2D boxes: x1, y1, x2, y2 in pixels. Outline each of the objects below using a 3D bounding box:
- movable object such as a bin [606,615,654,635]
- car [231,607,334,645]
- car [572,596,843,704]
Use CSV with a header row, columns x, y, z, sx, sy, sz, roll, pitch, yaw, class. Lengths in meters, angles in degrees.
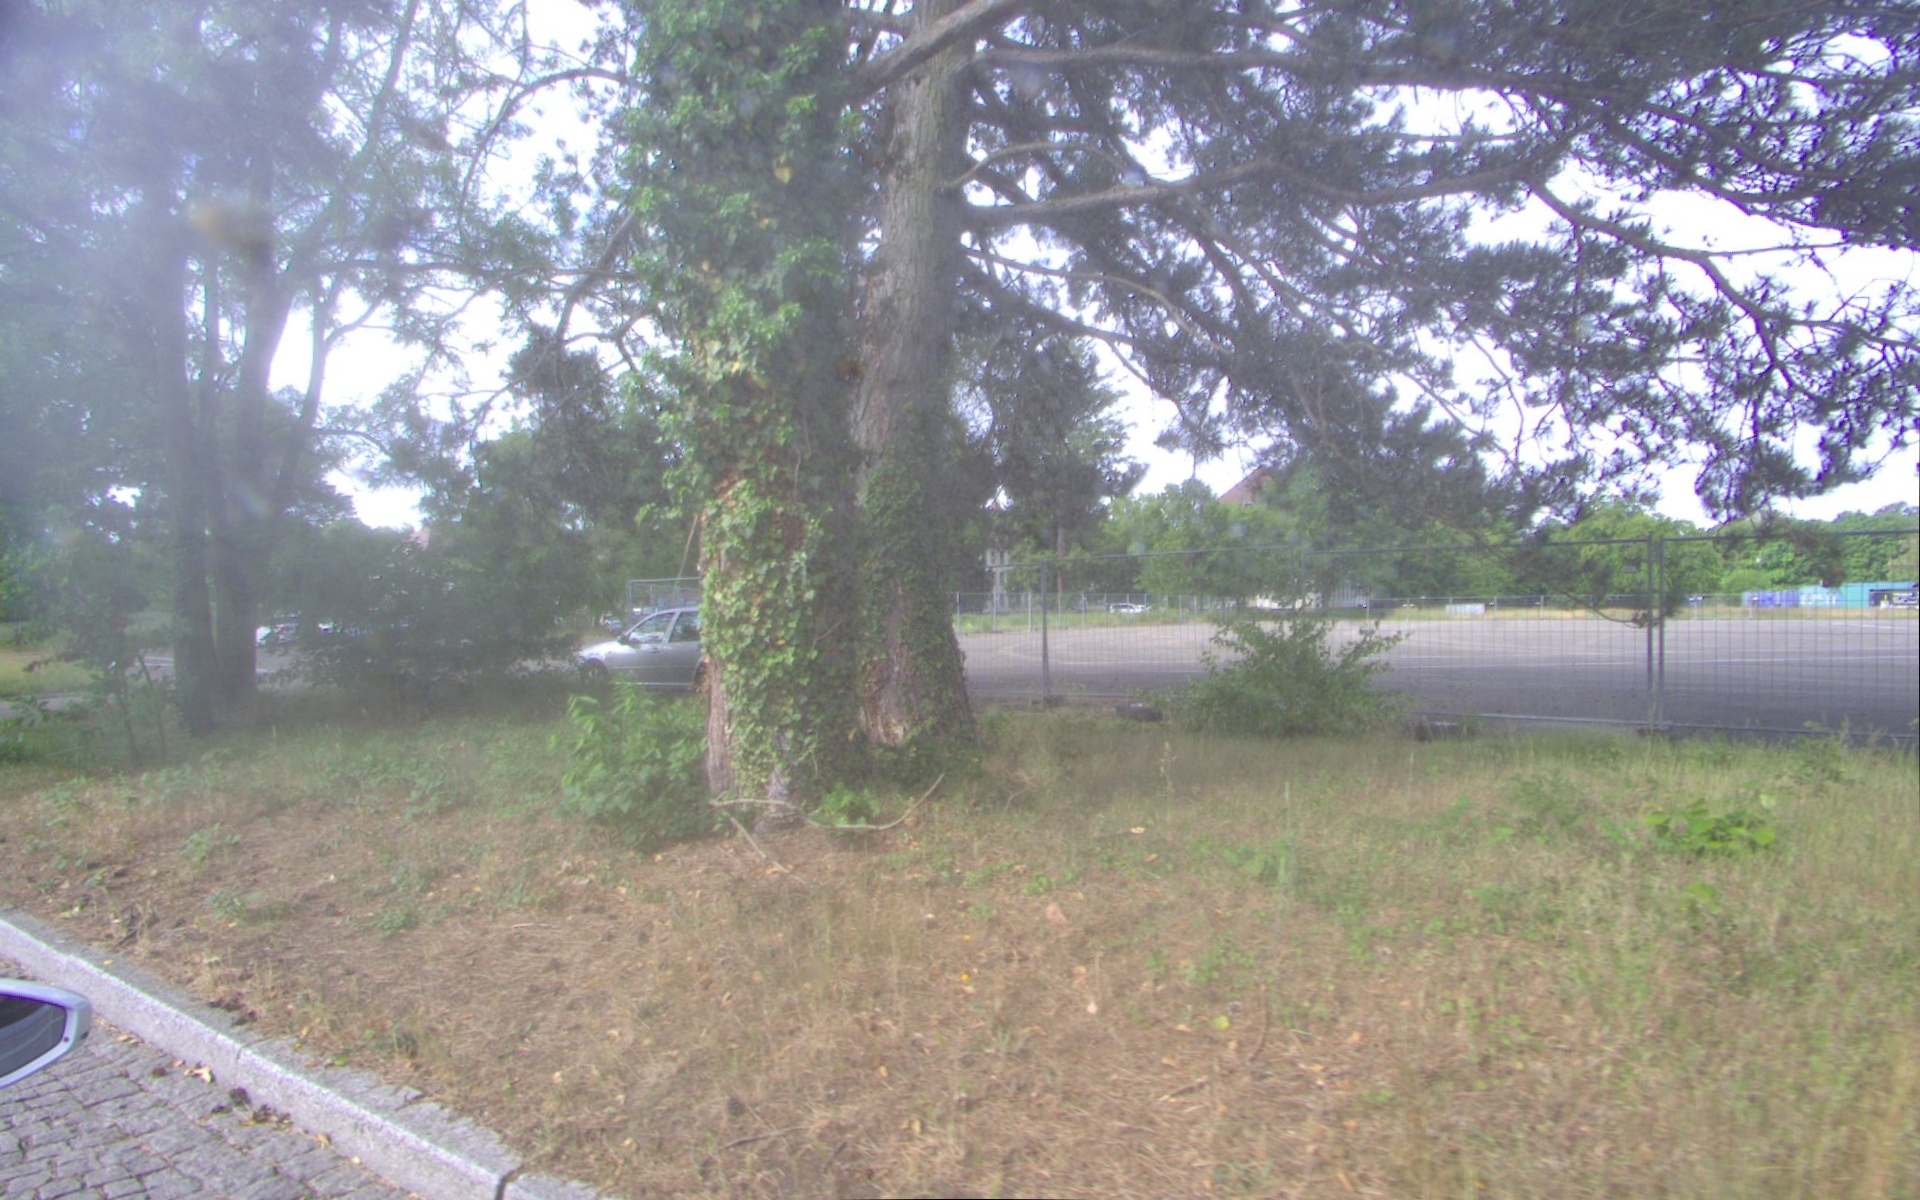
x,y,z,sx,sy,sz,roll,pitch,yaw,class
-14.757,1.110,44.783,1.928,0.836,1.181,-1,0,37,movable object such as a bin
-29.703,1.139,43.869,4.359,1.500,1.991,-2,-1,29,car
-3.869,0.737,15.173,4.014,1.444,1.644,-1,-3,31,car
